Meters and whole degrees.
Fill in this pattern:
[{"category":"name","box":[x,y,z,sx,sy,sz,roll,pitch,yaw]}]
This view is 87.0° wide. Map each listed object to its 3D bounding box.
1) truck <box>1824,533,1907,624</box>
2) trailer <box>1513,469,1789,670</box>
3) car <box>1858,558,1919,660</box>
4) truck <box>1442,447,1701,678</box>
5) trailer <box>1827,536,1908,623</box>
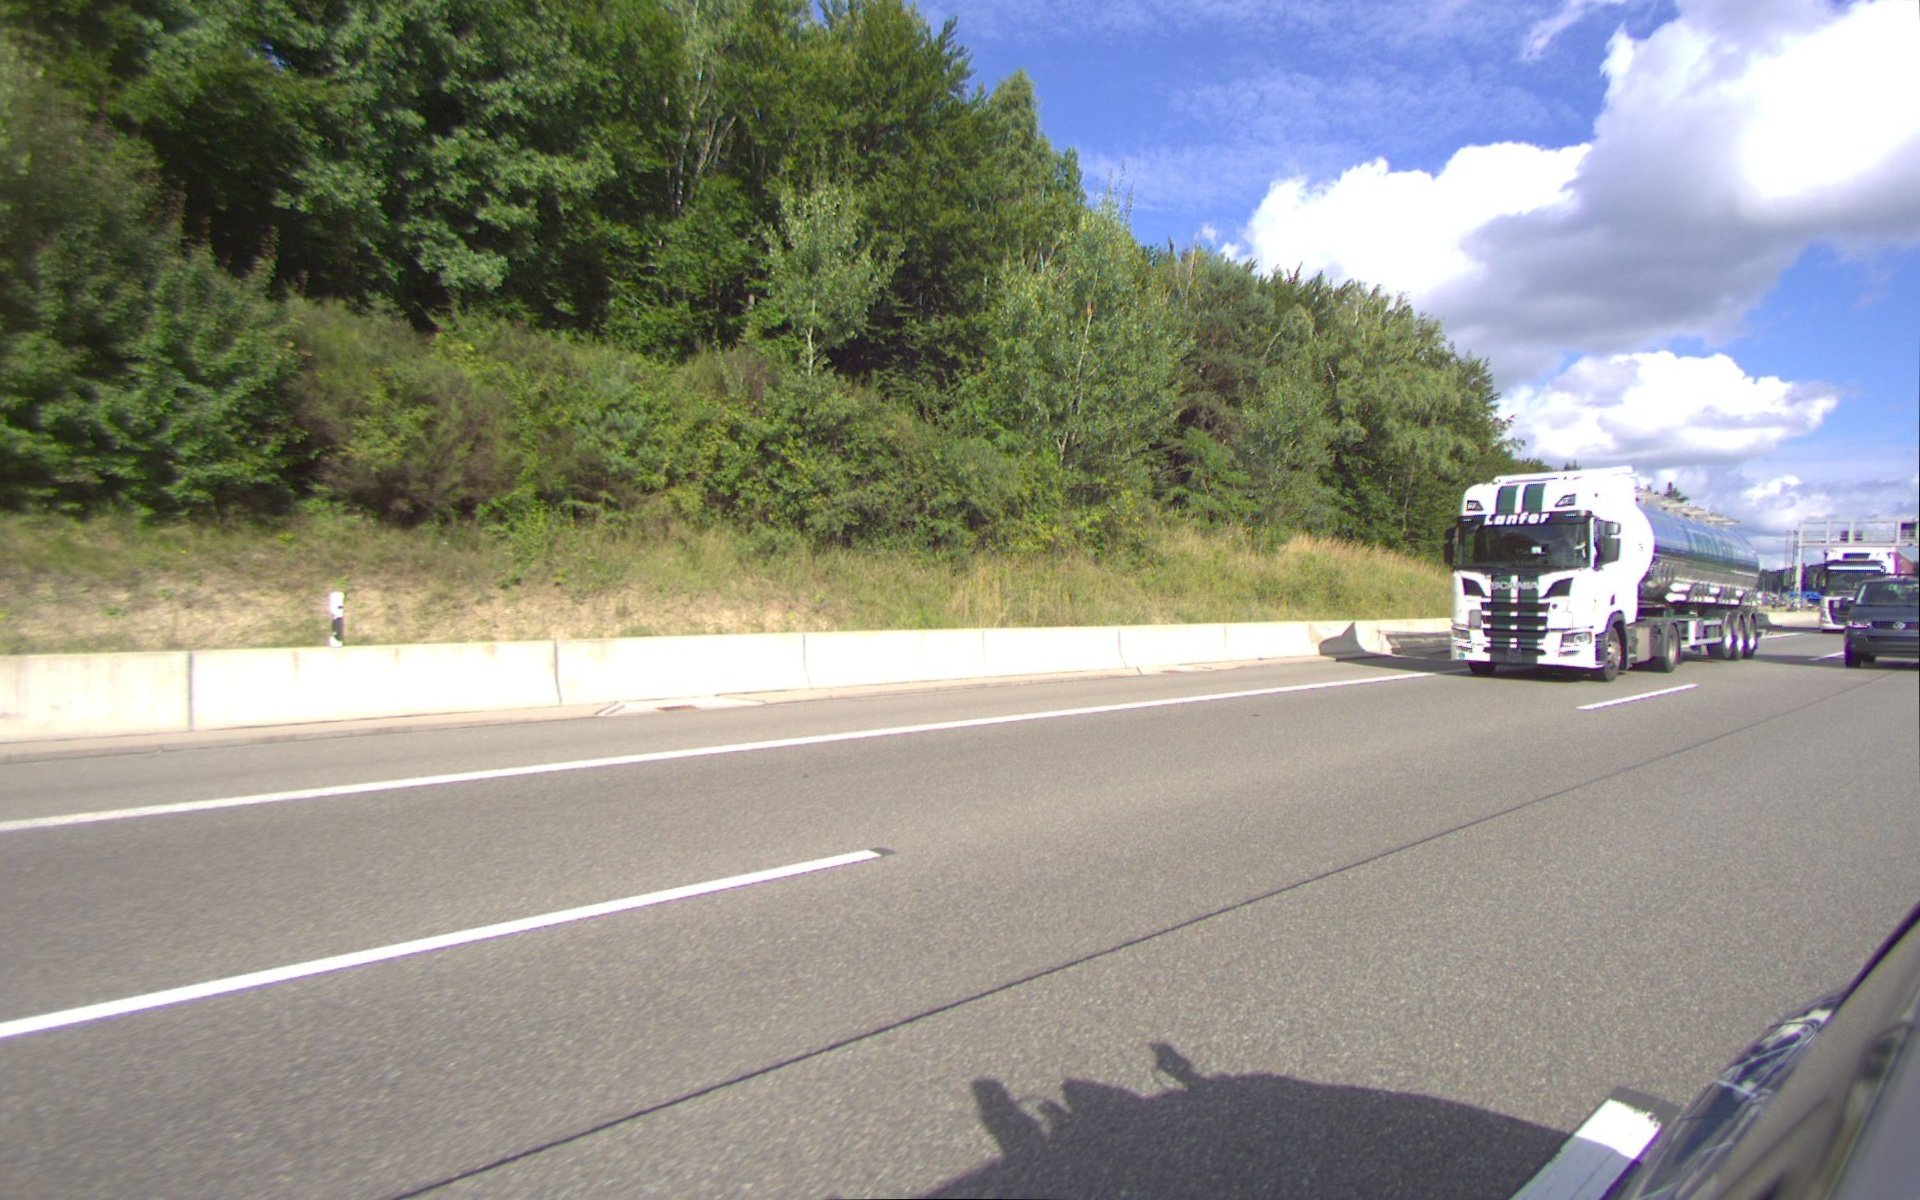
[{"category":"truck","box":[43.344,-0.964,48.405,2.774,4.096,5.682,1,0,44]},{"category":"trailer","box":[16.844,-0.563,24.089,11.654,3.814,2.653,1,1,-42]},{"category":"car","box":[21.954,0.187,22.856,4.845,2.136,1.852,0,0,-40]},{"category":"truck","box":[12.150,-0.636,19.904,5.976,3.871,2.653,1,1,-42]},{"category":"trailer","box":[47.913,-0.933,53.254,2.774,4.096,13.496,1,0,43]}]
